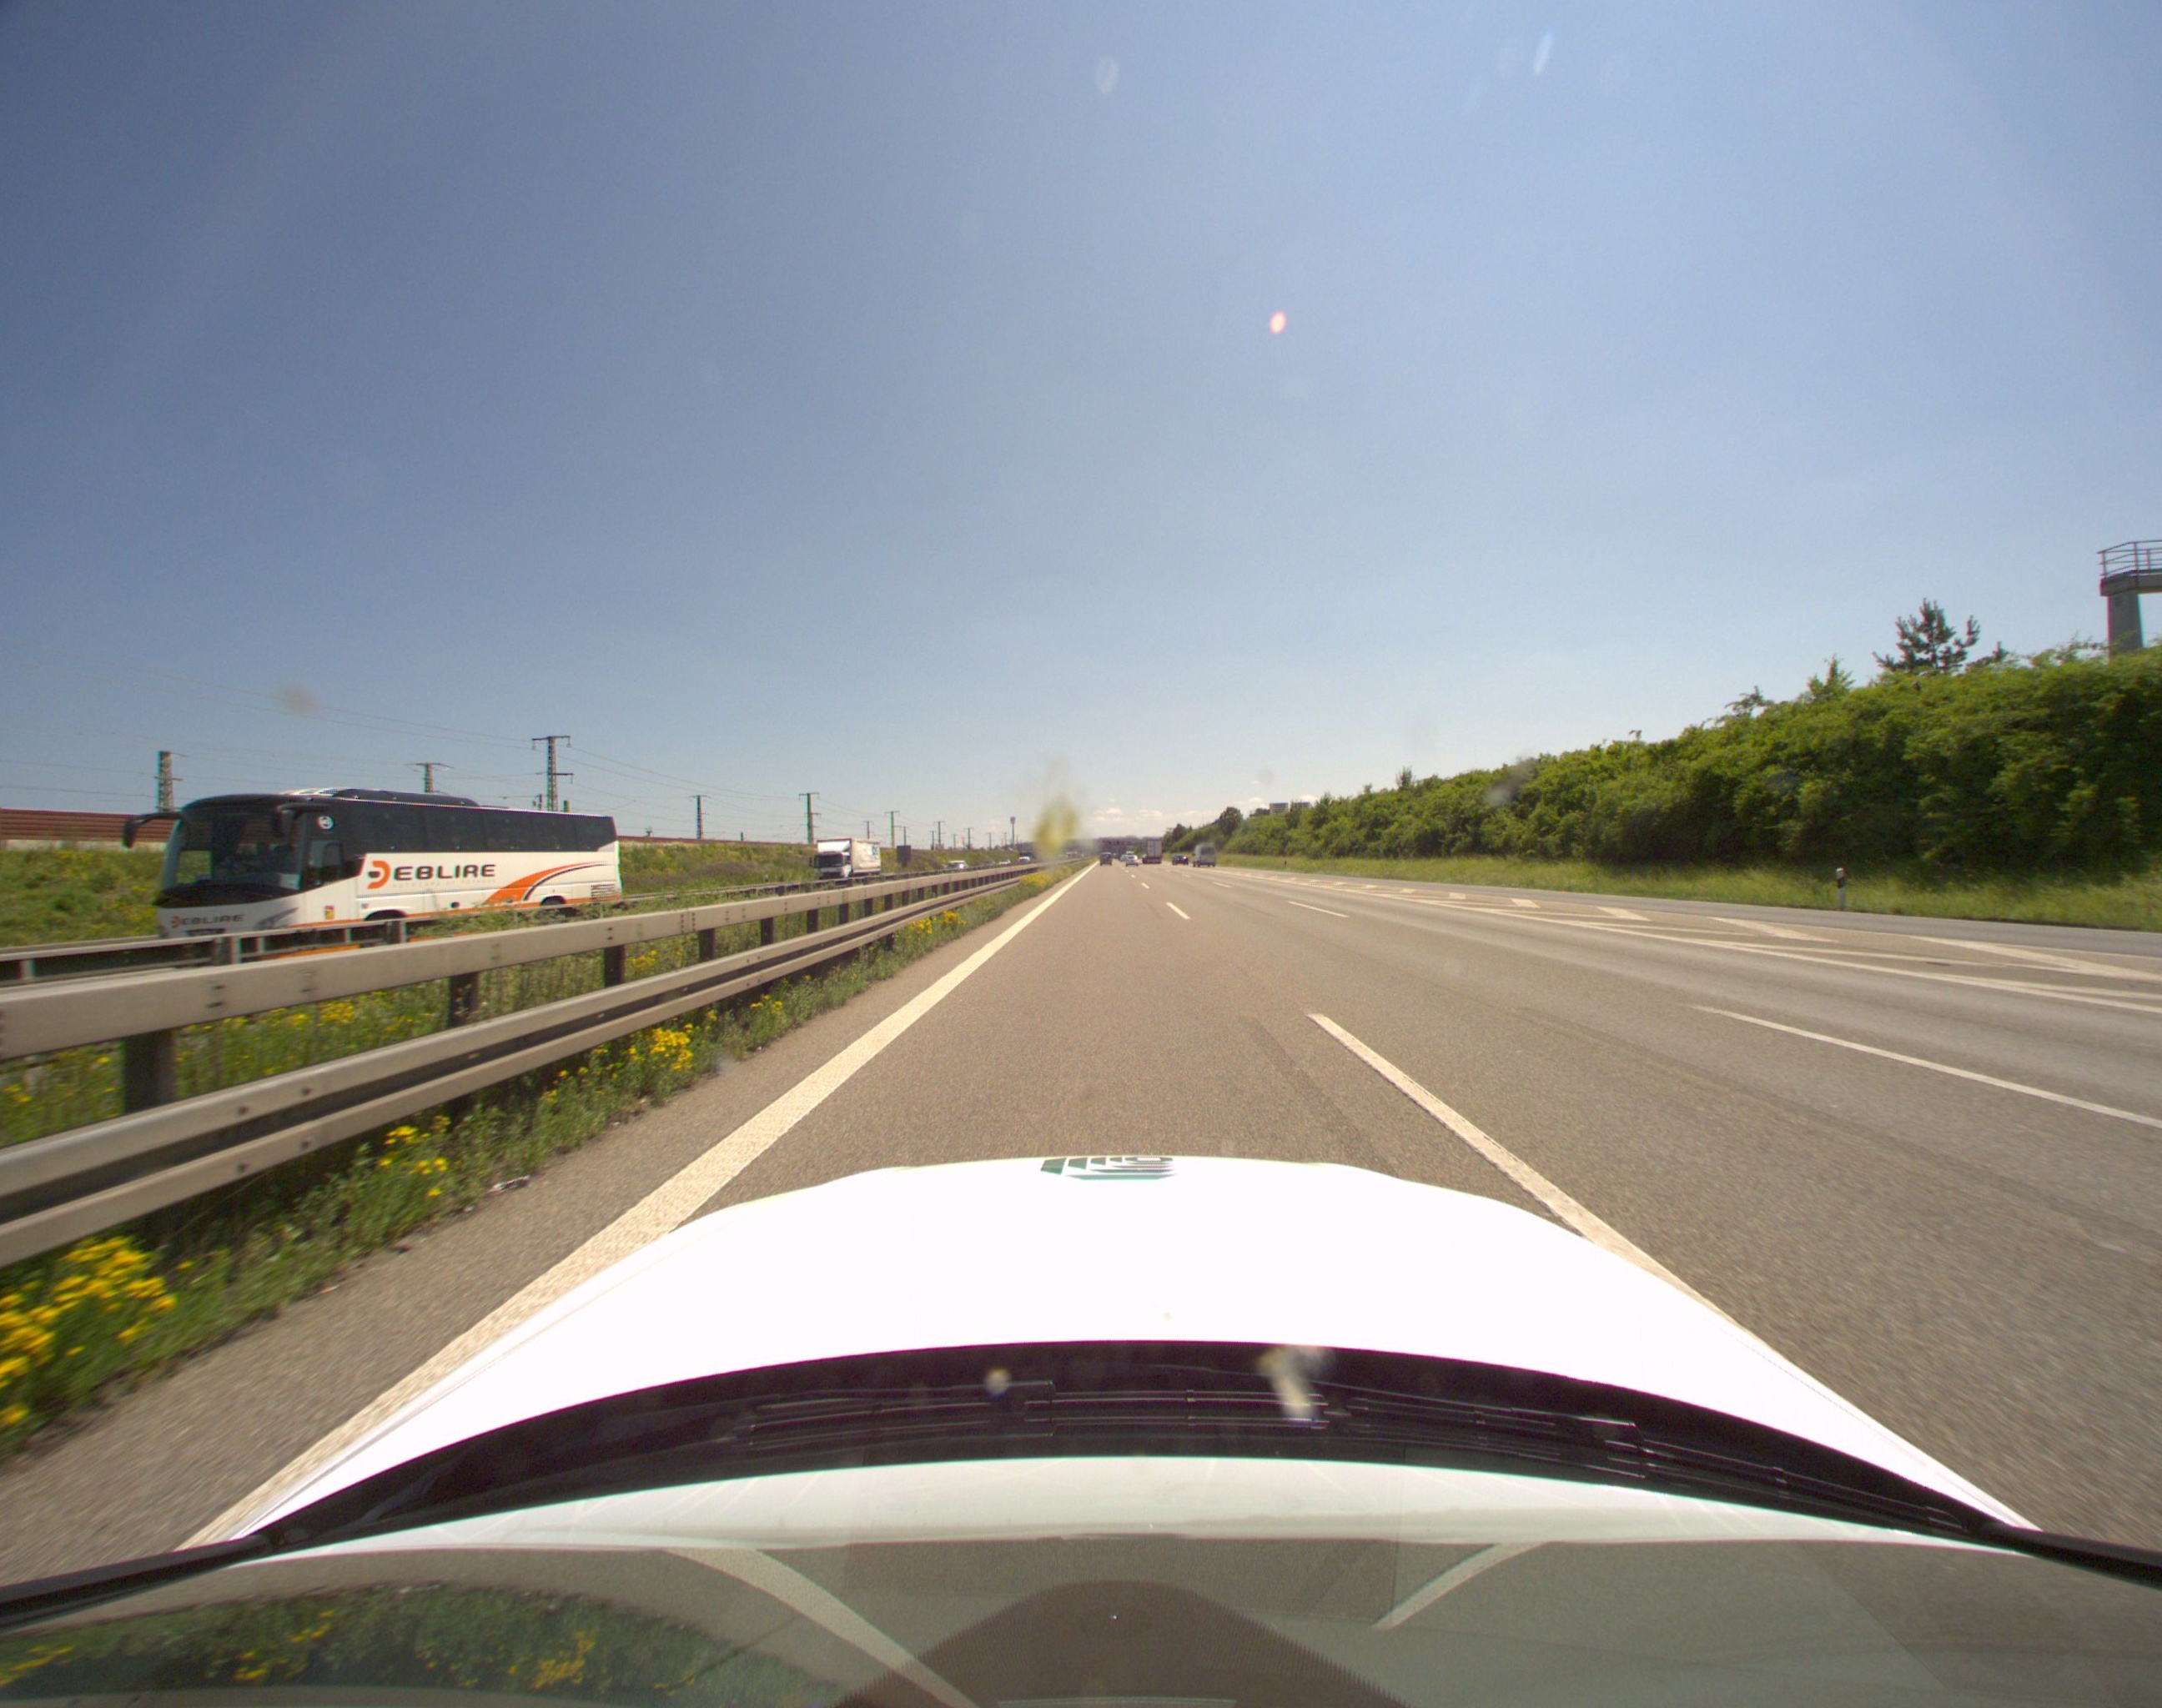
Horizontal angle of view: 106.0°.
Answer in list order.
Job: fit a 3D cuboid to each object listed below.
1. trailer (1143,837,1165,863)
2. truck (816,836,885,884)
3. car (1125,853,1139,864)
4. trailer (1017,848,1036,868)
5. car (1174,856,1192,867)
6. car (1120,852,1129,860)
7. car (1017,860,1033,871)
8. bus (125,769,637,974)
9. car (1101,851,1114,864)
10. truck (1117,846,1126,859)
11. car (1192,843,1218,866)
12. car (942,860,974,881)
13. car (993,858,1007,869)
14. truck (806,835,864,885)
[{"bbox_3d":[12.074,-0.571,135.522,3.165,4.059,9.444,-2,0,2],"label":"trailer"},{"bbox_3d":[-17.502,0.431,62.404,2.846,3.467,7.784,0,0,2],"label":"truck"},{"bbox_3d":[7.013,0.651,111.652,1.872,1.526,4.005,-1,-1,5],"label":"car"},{"bbox_3d":[-10.921,0.727,164.254,3.040,3.868,7.205,-2,0,1],"label":"trailer"},{"bbox_3d":[14.245,1.040,113.953,1.987,1.508,3.998,0,-1,-1],"label":"car"},{"bbox_3d":[9.550,0.443,178.239,1.873,1.526,4.003,-1,-1,3],"label":"car"},{"bbox_3d":[-8.393,1.697,122.429,1.913,1.610,5.396,-3,0,1],"label":"car"},{"bbox_3d":[-15.511,0.301,20.038,2.846,3.645,10.945,0,0,2],"label":"bus"},{"bbox_3d":[3.869,0.554,119.860,1.873,1.775,4.002,-2,-1,2],"label":"car"},{"bbox_3d":[11.165,-0.449,223.341,2.346,3.416,6.060,-1,0,2],"label":"truck"},{"bbox_3d":[14.588,0.063,96.158,2.266,2.528,5.400,-1,0,1],"label":"car"},{"bbox_3d":[-10.667,1.400,70.927,1.913,1.610,4.002,-3,0,2],"label":"car"},{"bbox_3d":[-15.774,1.832,158.607,1.986,2.014,4.496,-3,-2,2],"label":"car"},{"bbox_3d":[-17.637,0.415,58.694,2.837,3.467,4.025,0,0,2],"label":"truck"}]
